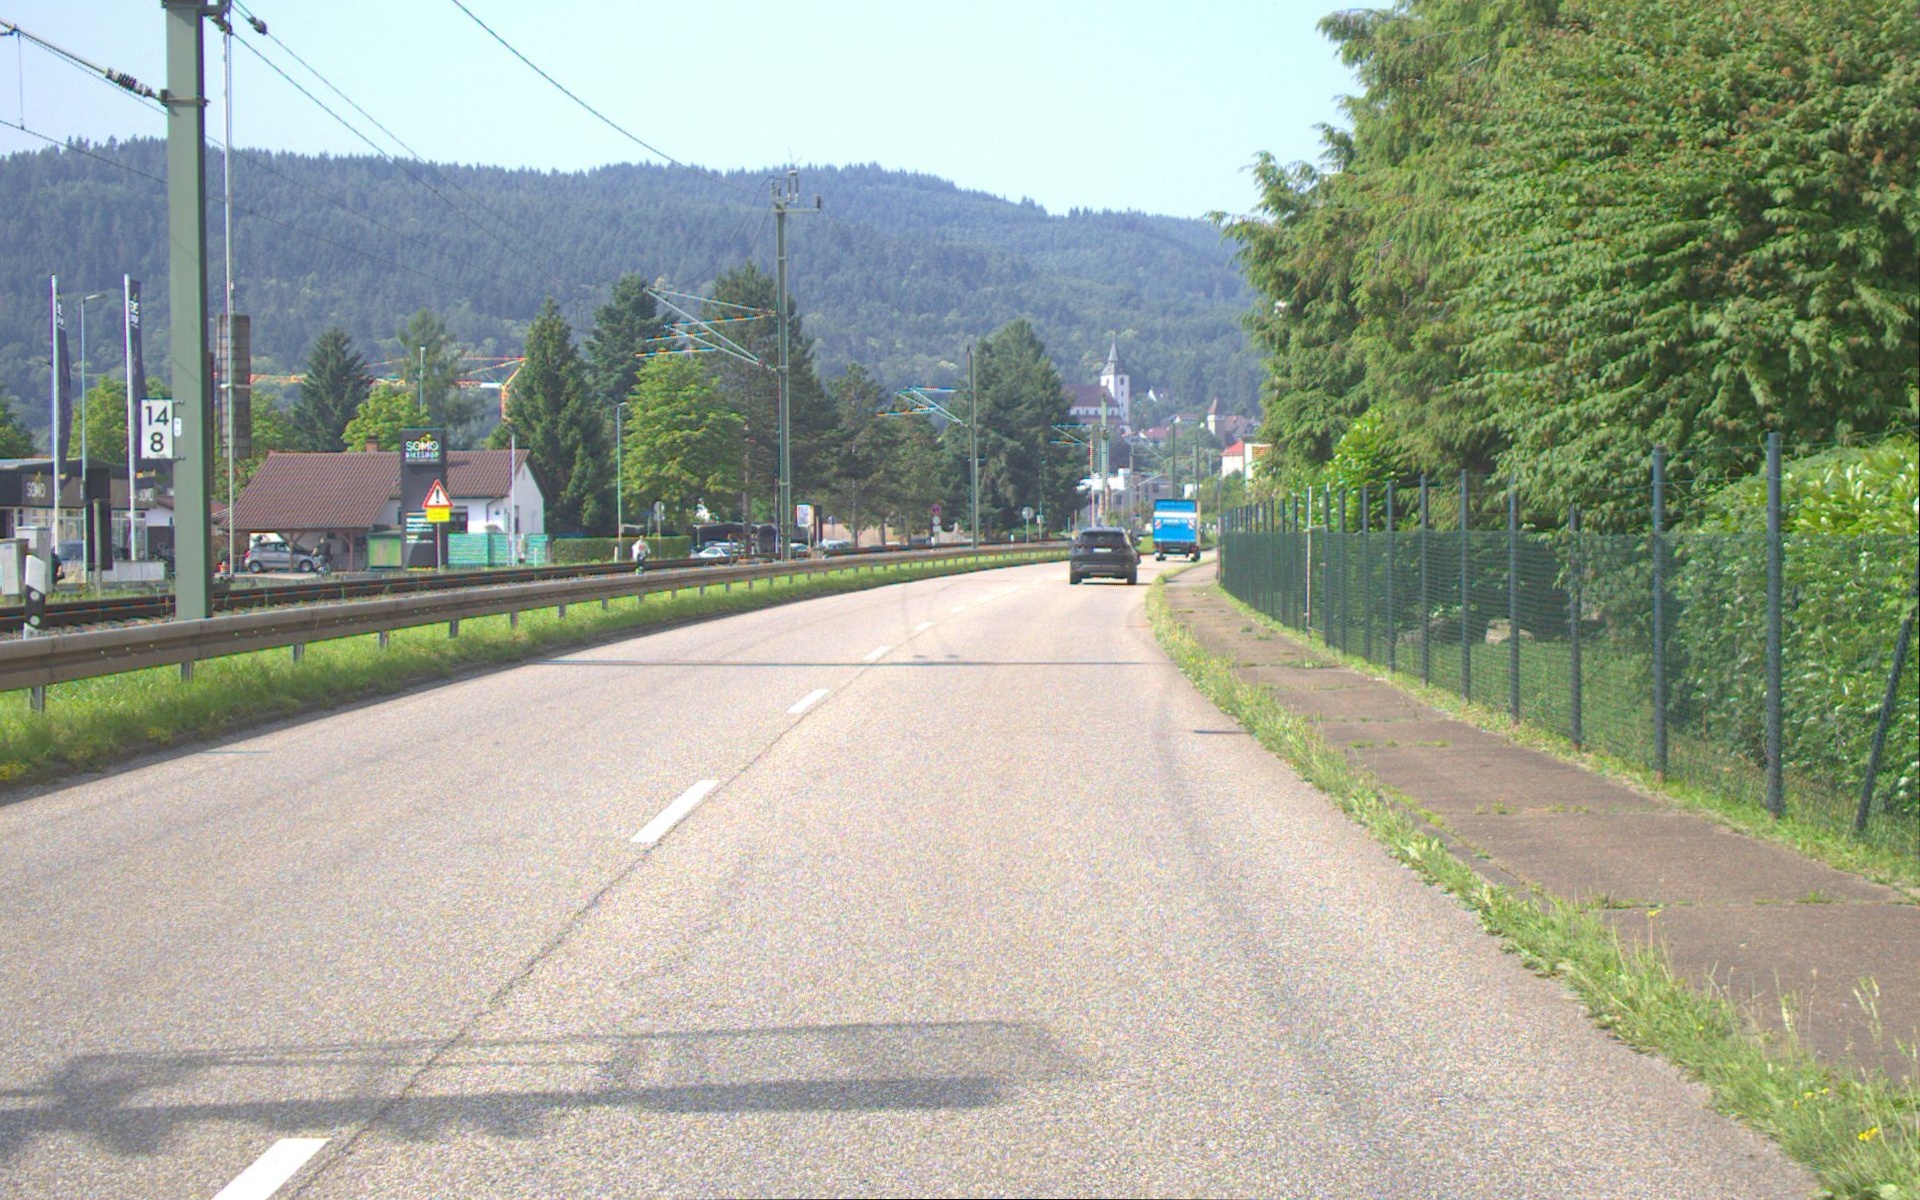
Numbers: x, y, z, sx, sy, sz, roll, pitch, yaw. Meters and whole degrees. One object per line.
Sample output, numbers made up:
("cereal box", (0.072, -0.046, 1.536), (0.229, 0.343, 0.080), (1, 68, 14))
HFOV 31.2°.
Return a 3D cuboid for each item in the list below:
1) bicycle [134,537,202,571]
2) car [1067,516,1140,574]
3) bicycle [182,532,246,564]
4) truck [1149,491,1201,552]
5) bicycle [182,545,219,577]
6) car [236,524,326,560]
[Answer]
("bicycle", (-27.106, -1.585, 117.663), (0.729, 1.126, 2.317), (0, 1, 38))
("car", (4.155, -1.582, 99.146), (1.920, 1.634, 3.999), (0, 1, 5))
("bicycle", (-26.863, -1.881, 123.847), (2.167, 1.126, 0.730), (-1, 1, -6))
("truck", (10.684, -3.905, 170.739), (2.313, 2.960, 5.964), (0, 1, 6))
("bicycle", (-26.708, -1.376, 120.962), (0.728, 1.126, 2.174), (-1, 1, 2))
("car", (-32.563, -2.786, 164.895), (3.837, 1.645, 1.712), (-1, 1, 7))
